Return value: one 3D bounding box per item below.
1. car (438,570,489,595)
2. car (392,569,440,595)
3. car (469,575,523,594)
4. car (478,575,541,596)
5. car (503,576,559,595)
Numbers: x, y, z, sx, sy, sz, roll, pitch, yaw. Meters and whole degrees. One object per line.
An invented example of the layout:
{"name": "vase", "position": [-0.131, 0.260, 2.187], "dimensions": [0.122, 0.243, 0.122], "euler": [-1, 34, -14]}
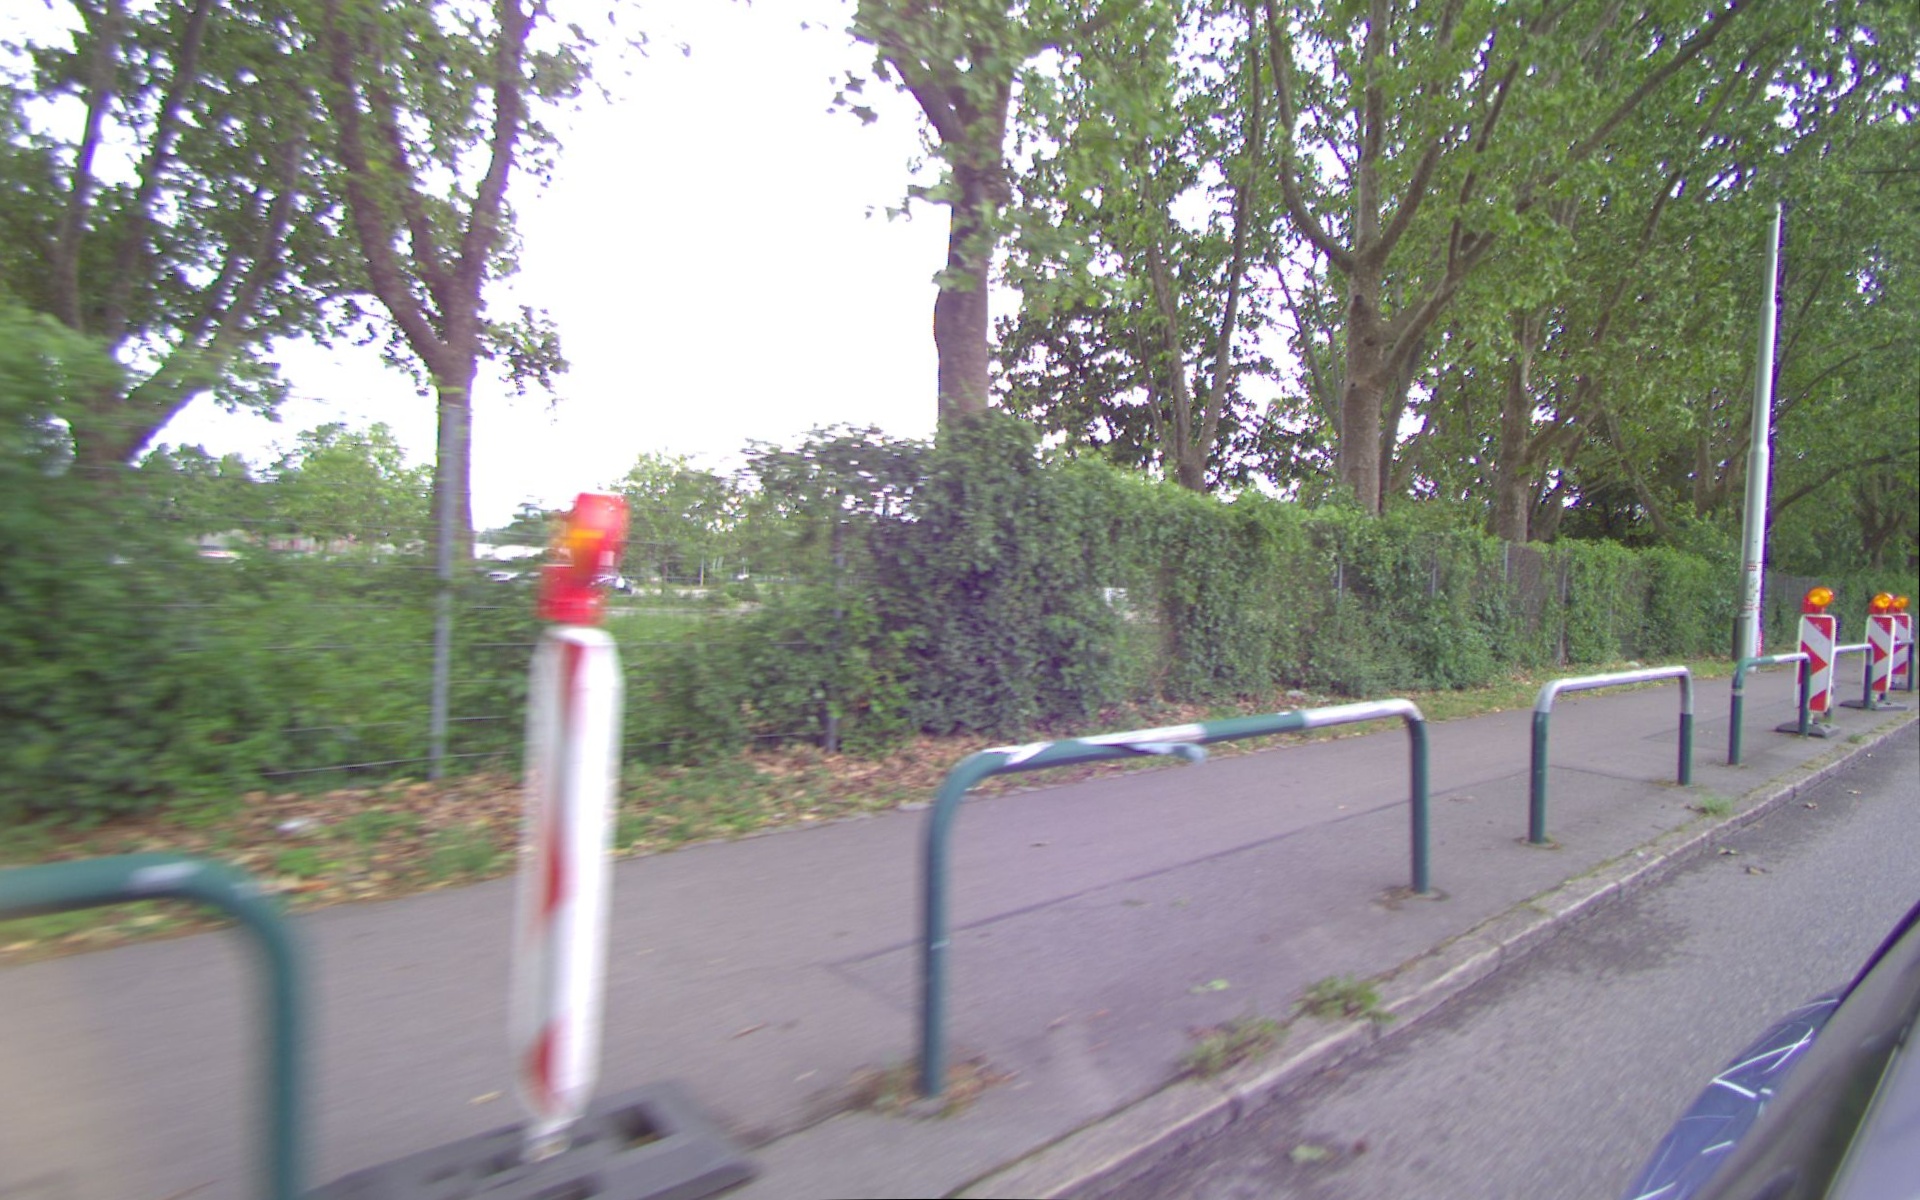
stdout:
{"name": "car", "position": [-46.694, -1.643, 95.203], "dimensions": [3.930, 2.258, 1.797], "euler": [0, 0, -41]}
{"name": "car", "position": [-59.029, -1.934, 109.938], "dimensions": [4.310, 2.654, 1.797], "euler": [0, 0, -41]}
{"name": "car", "position": [-39.973, -1.299, 87.263], "dimensions": [3.930, 1.626, 1.797], "euler": [0, 0, -41]}
{"name": "car", "position": [-33.366, -1.036, 75.016], "dimensions": [3.930, 1.529, 1.797], "euler": [0, 0, -41]}
{"name": "car", "position": [-35.561, -1.201, 83.917], "dimensions": [3.930, 1.529, 1.797], "euler": [0, 0, -41]}
